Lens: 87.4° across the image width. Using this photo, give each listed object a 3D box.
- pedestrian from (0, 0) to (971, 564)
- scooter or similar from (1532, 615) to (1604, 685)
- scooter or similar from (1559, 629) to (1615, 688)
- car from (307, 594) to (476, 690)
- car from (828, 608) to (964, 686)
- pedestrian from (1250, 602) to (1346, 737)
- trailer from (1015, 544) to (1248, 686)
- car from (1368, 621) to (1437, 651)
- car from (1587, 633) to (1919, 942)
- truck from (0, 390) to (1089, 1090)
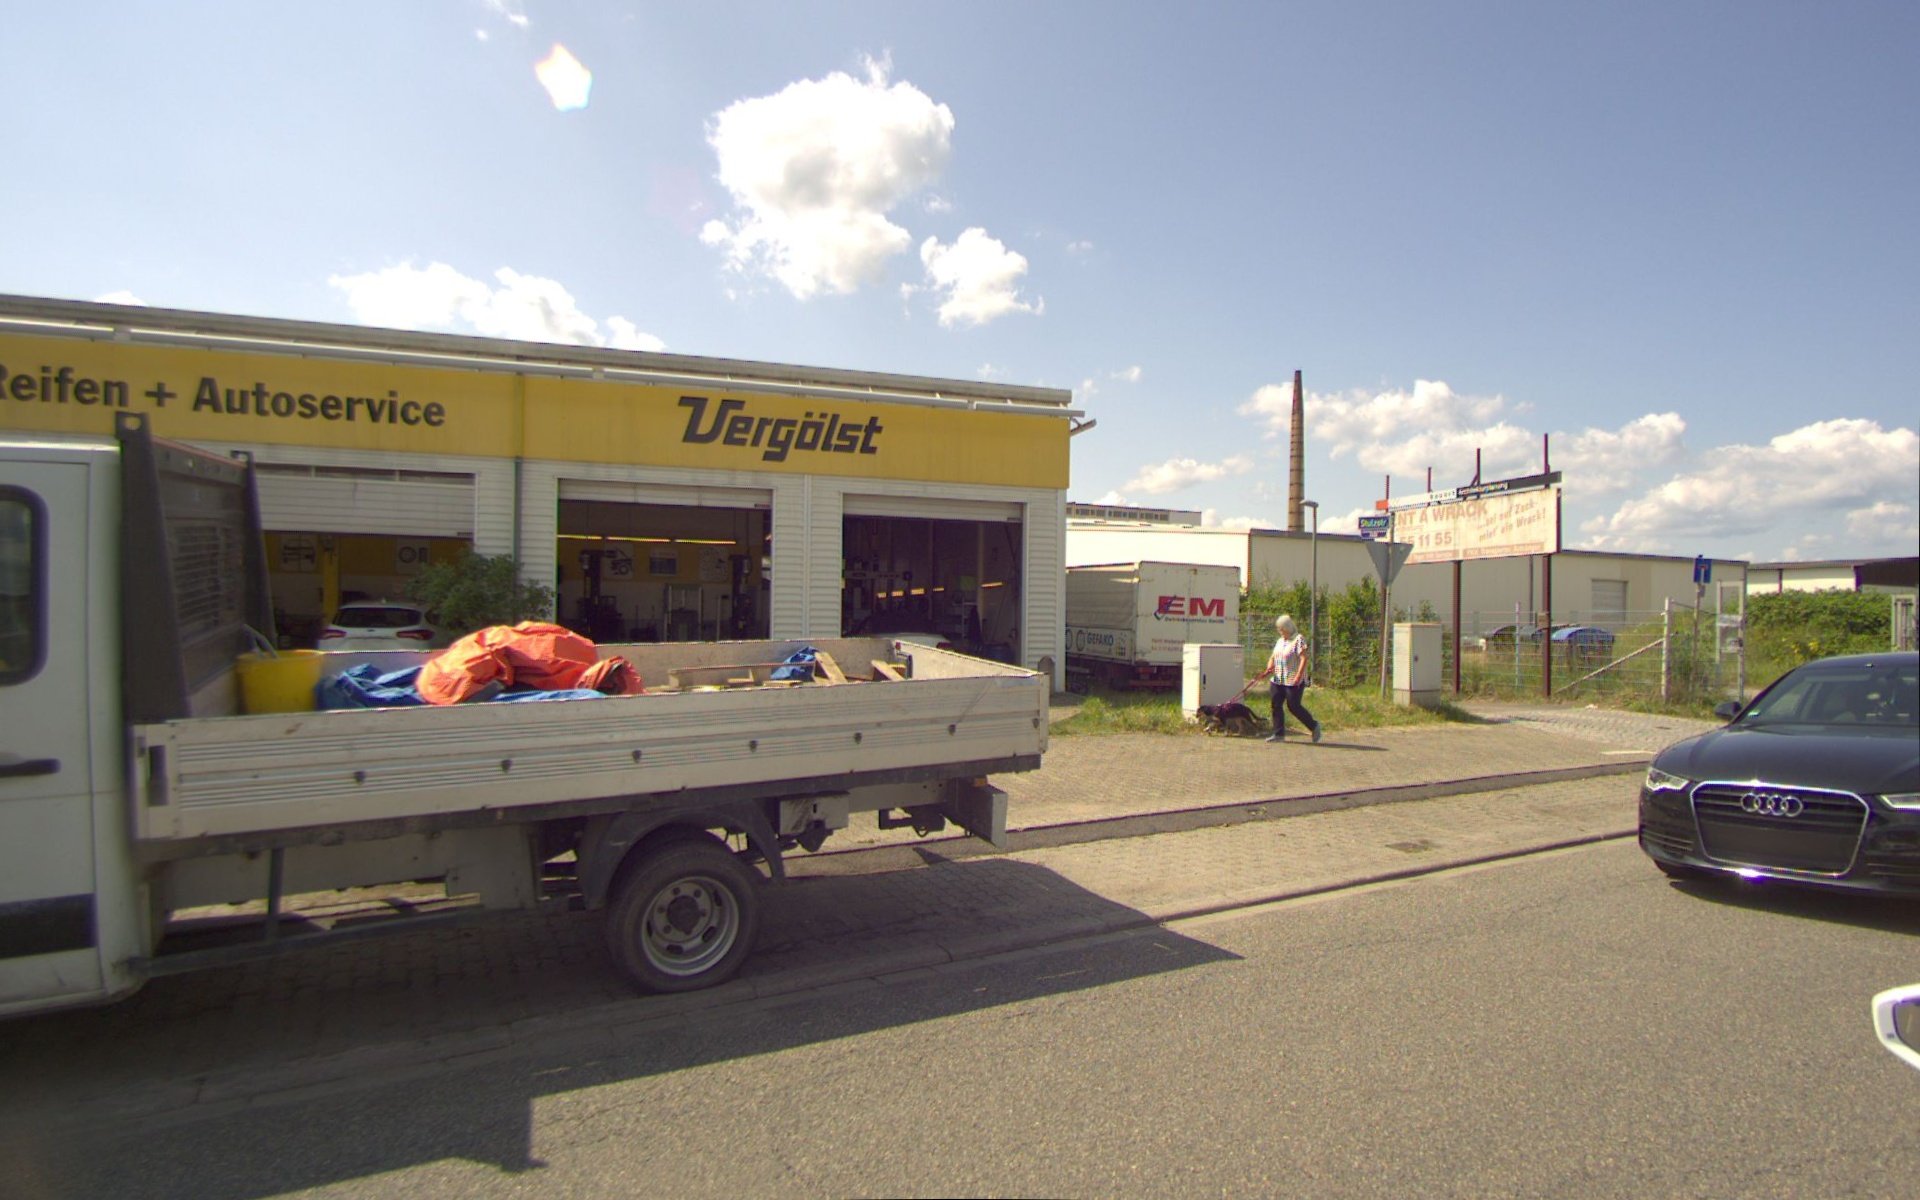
[{"bbox_3d":[-2.175,-1.302,4.452,3.952,2.040,1.985,2,0,-29],"label":"pedestrian"},{"bbox_3d":[14.570,1.176,24.113,1.147,1.608,1.320,1,-1,16],"label":"scooter or similar"},{"bbox_3d":[14.269,1.315,22.886,0.864,1.292,0.898,1,-1,16],"label":"scooter or similar"},{"bbox_3d":[-9.616,0.673,17.284,1.762,1.456,3.570,1,-1,-17],"label":"car"},{"bbox_3d":[-1.413,0.897,20.598,1.946,1.419,3.986,1,-1,-16],"label":"car"},{"bbox_3d":[4.098,0.819,12.185,0.907,1.566,0.657,1,-1,-29],"label":"pedestrian"},{"bbox_3d":[3.790,0.352,23.988,2.716,2.890,6.511,1,-1,-19],"label":"trailer"},{"bbox_3d":[24.810,2.019,56.491,1.961,1.554,3.998,1,-1,-3],"label":"car"},{"bbox_3d":[6.045,0.973,6.368,4.261,1.457,1.776,2,-4,-32],"label":"car"},{"bbox_3d":[-3.055,0.435,4.457,7.256,2.269,2.119,1,2,-28],"label":"truck"}]
